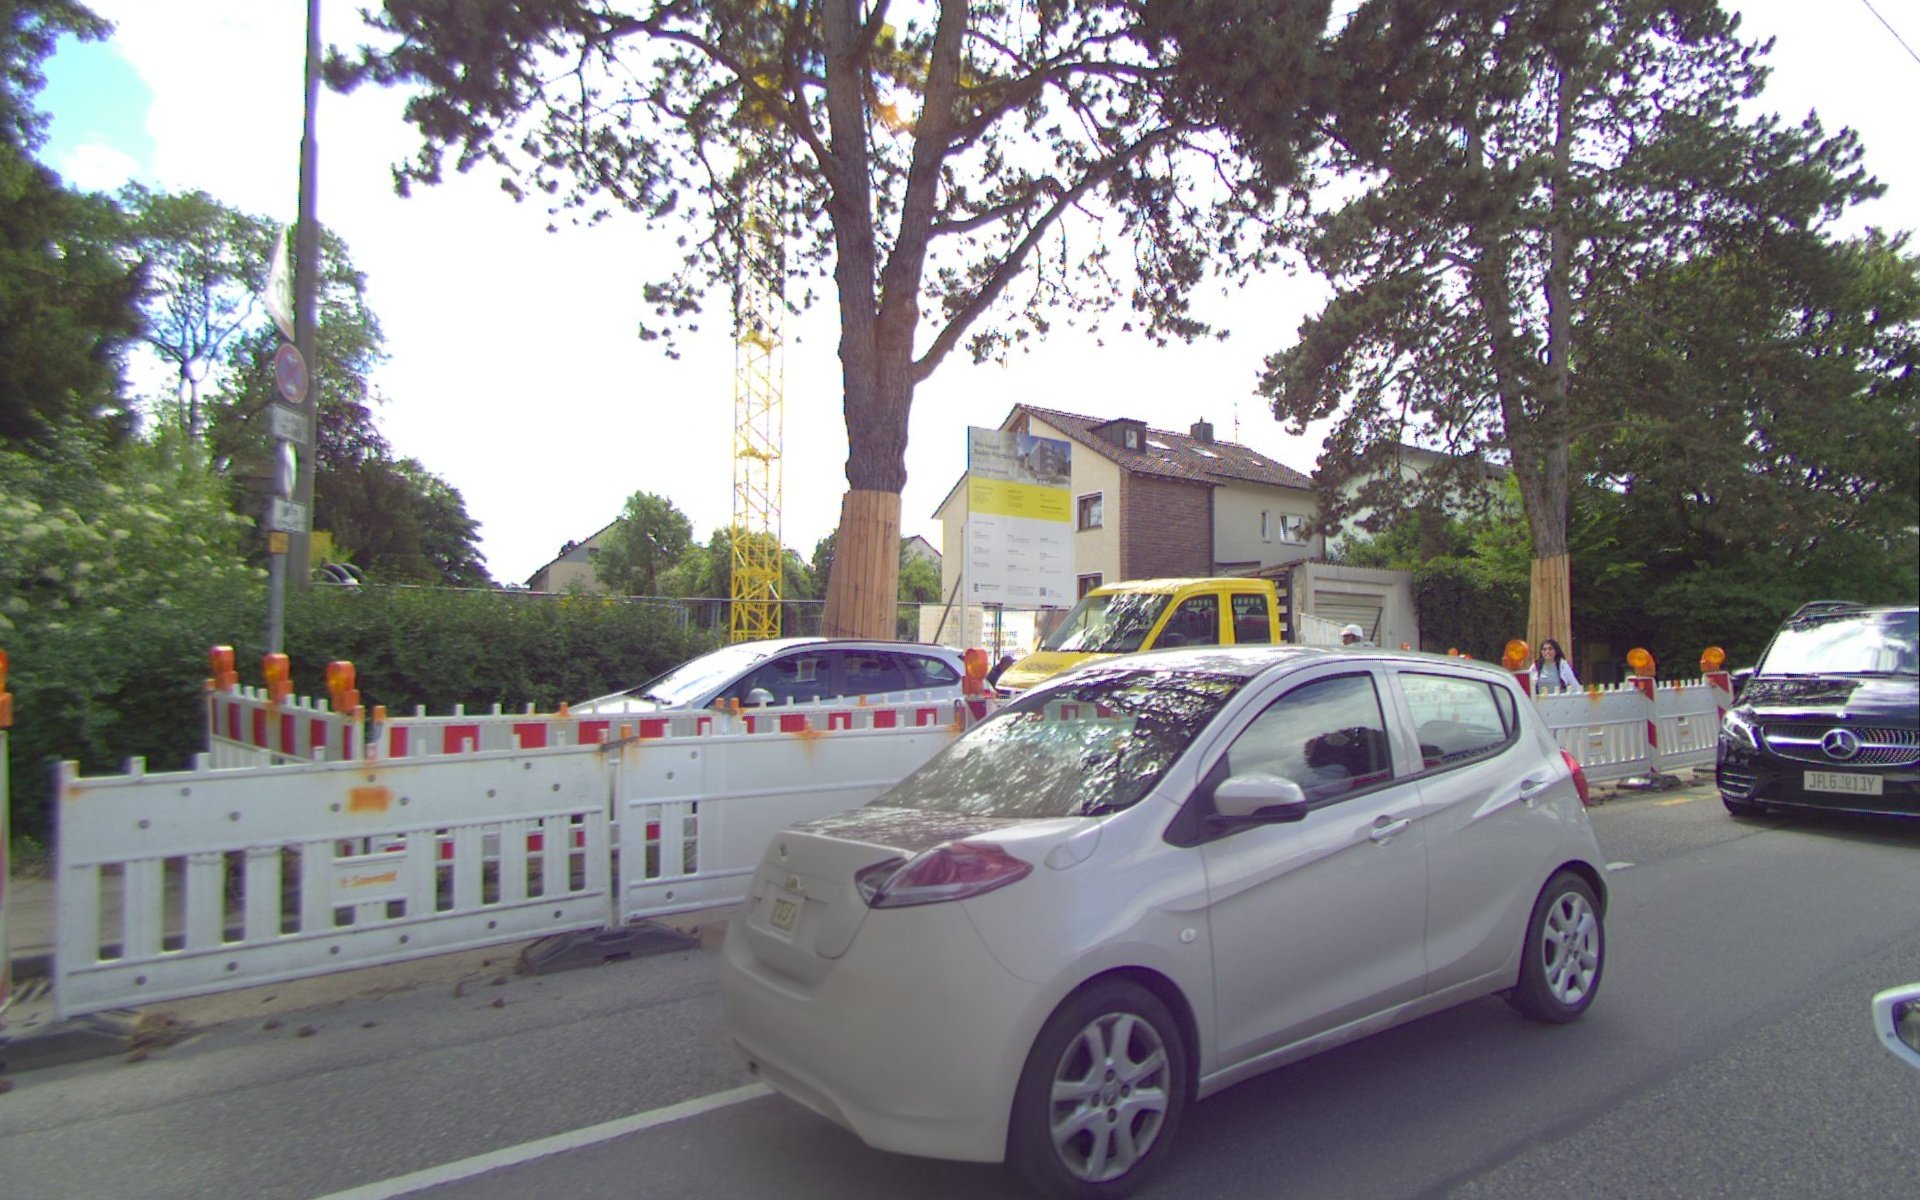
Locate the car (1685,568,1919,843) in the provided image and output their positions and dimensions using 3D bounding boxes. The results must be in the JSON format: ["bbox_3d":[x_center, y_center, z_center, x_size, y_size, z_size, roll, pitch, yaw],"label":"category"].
[{"bbox_3d":[8.587,0.828,9.104,4.868,1.977,1.895,1,-3,-37],"label":"car"}]

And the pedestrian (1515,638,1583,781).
[{"bbox_3d":[6.902,1.258,11.786,0.526,1.622,0.572,1,-2,12],"label":"pedestrian"}]

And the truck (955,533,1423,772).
[{"bbox_3d":[3.102,0.675,12.900,6.026,2.451,2.293,2,-3,-32],"label":"truck"}]

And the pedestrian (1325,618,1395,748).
[{"bbox_3d":[5.002,1.014,12.552,0.649,1.567,0.569,3,-2,-38],"label":"pedestrian"}]

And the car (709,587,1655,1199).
[{"bbox_3d":[0.995,0.840,3.952,3.531,1.543,1.606,2,-4,-33],"label":"car"}]

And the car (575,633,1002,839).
[{"bbox_3d":[-1.480,1.083,9.267,3.551,1.528,1.611,2,-2,-38],"label":"car"}]
